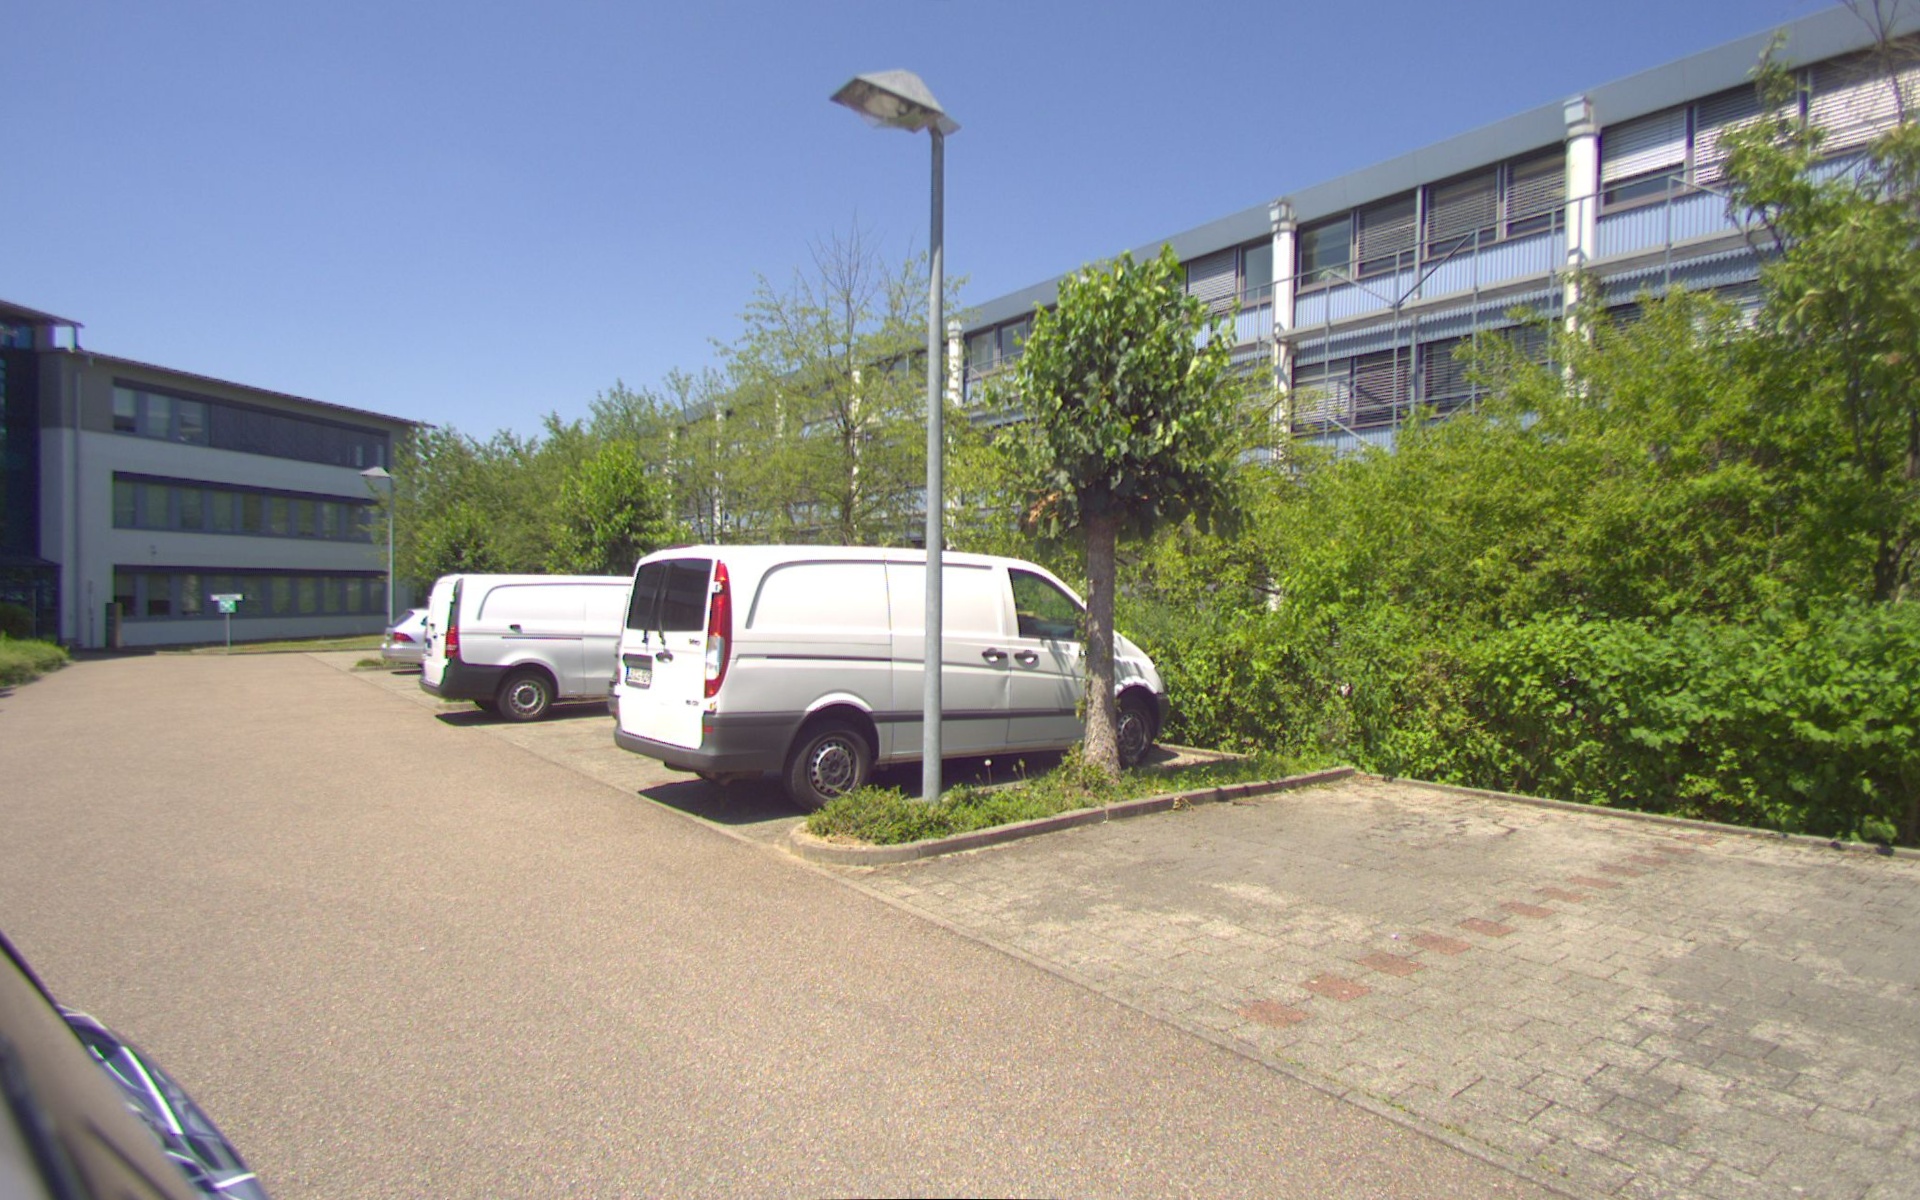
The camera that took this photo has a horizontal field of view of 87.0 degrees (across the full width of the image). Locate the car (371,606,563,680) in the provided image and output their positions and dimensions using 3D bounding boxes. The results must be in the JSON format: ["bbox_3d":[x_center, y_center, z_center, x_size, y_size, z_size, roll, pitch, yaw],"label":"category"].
[{"bbox_3d":[-11.282,0.926,23.266,3.705,1.569,1.664,0,-1,-39],"label":"car"}]

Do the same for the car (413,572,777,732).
[{"bbox_3d":[-4.984,0.623,14.153,4.448,1.896,1.833,0,-1,-39],"label":"car"}]

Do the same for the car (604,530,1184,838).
[{"bbox_3d":[-0.342,0.529,8.498,4.660,1.920,1.833,0,-1,-39],"label":"car"}]

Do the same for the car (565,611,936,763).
[{"bbox_3d":[-2.249,0.842,11.367,3.790,1.404,1.579,0,-1,-39],"label":"car"}]
